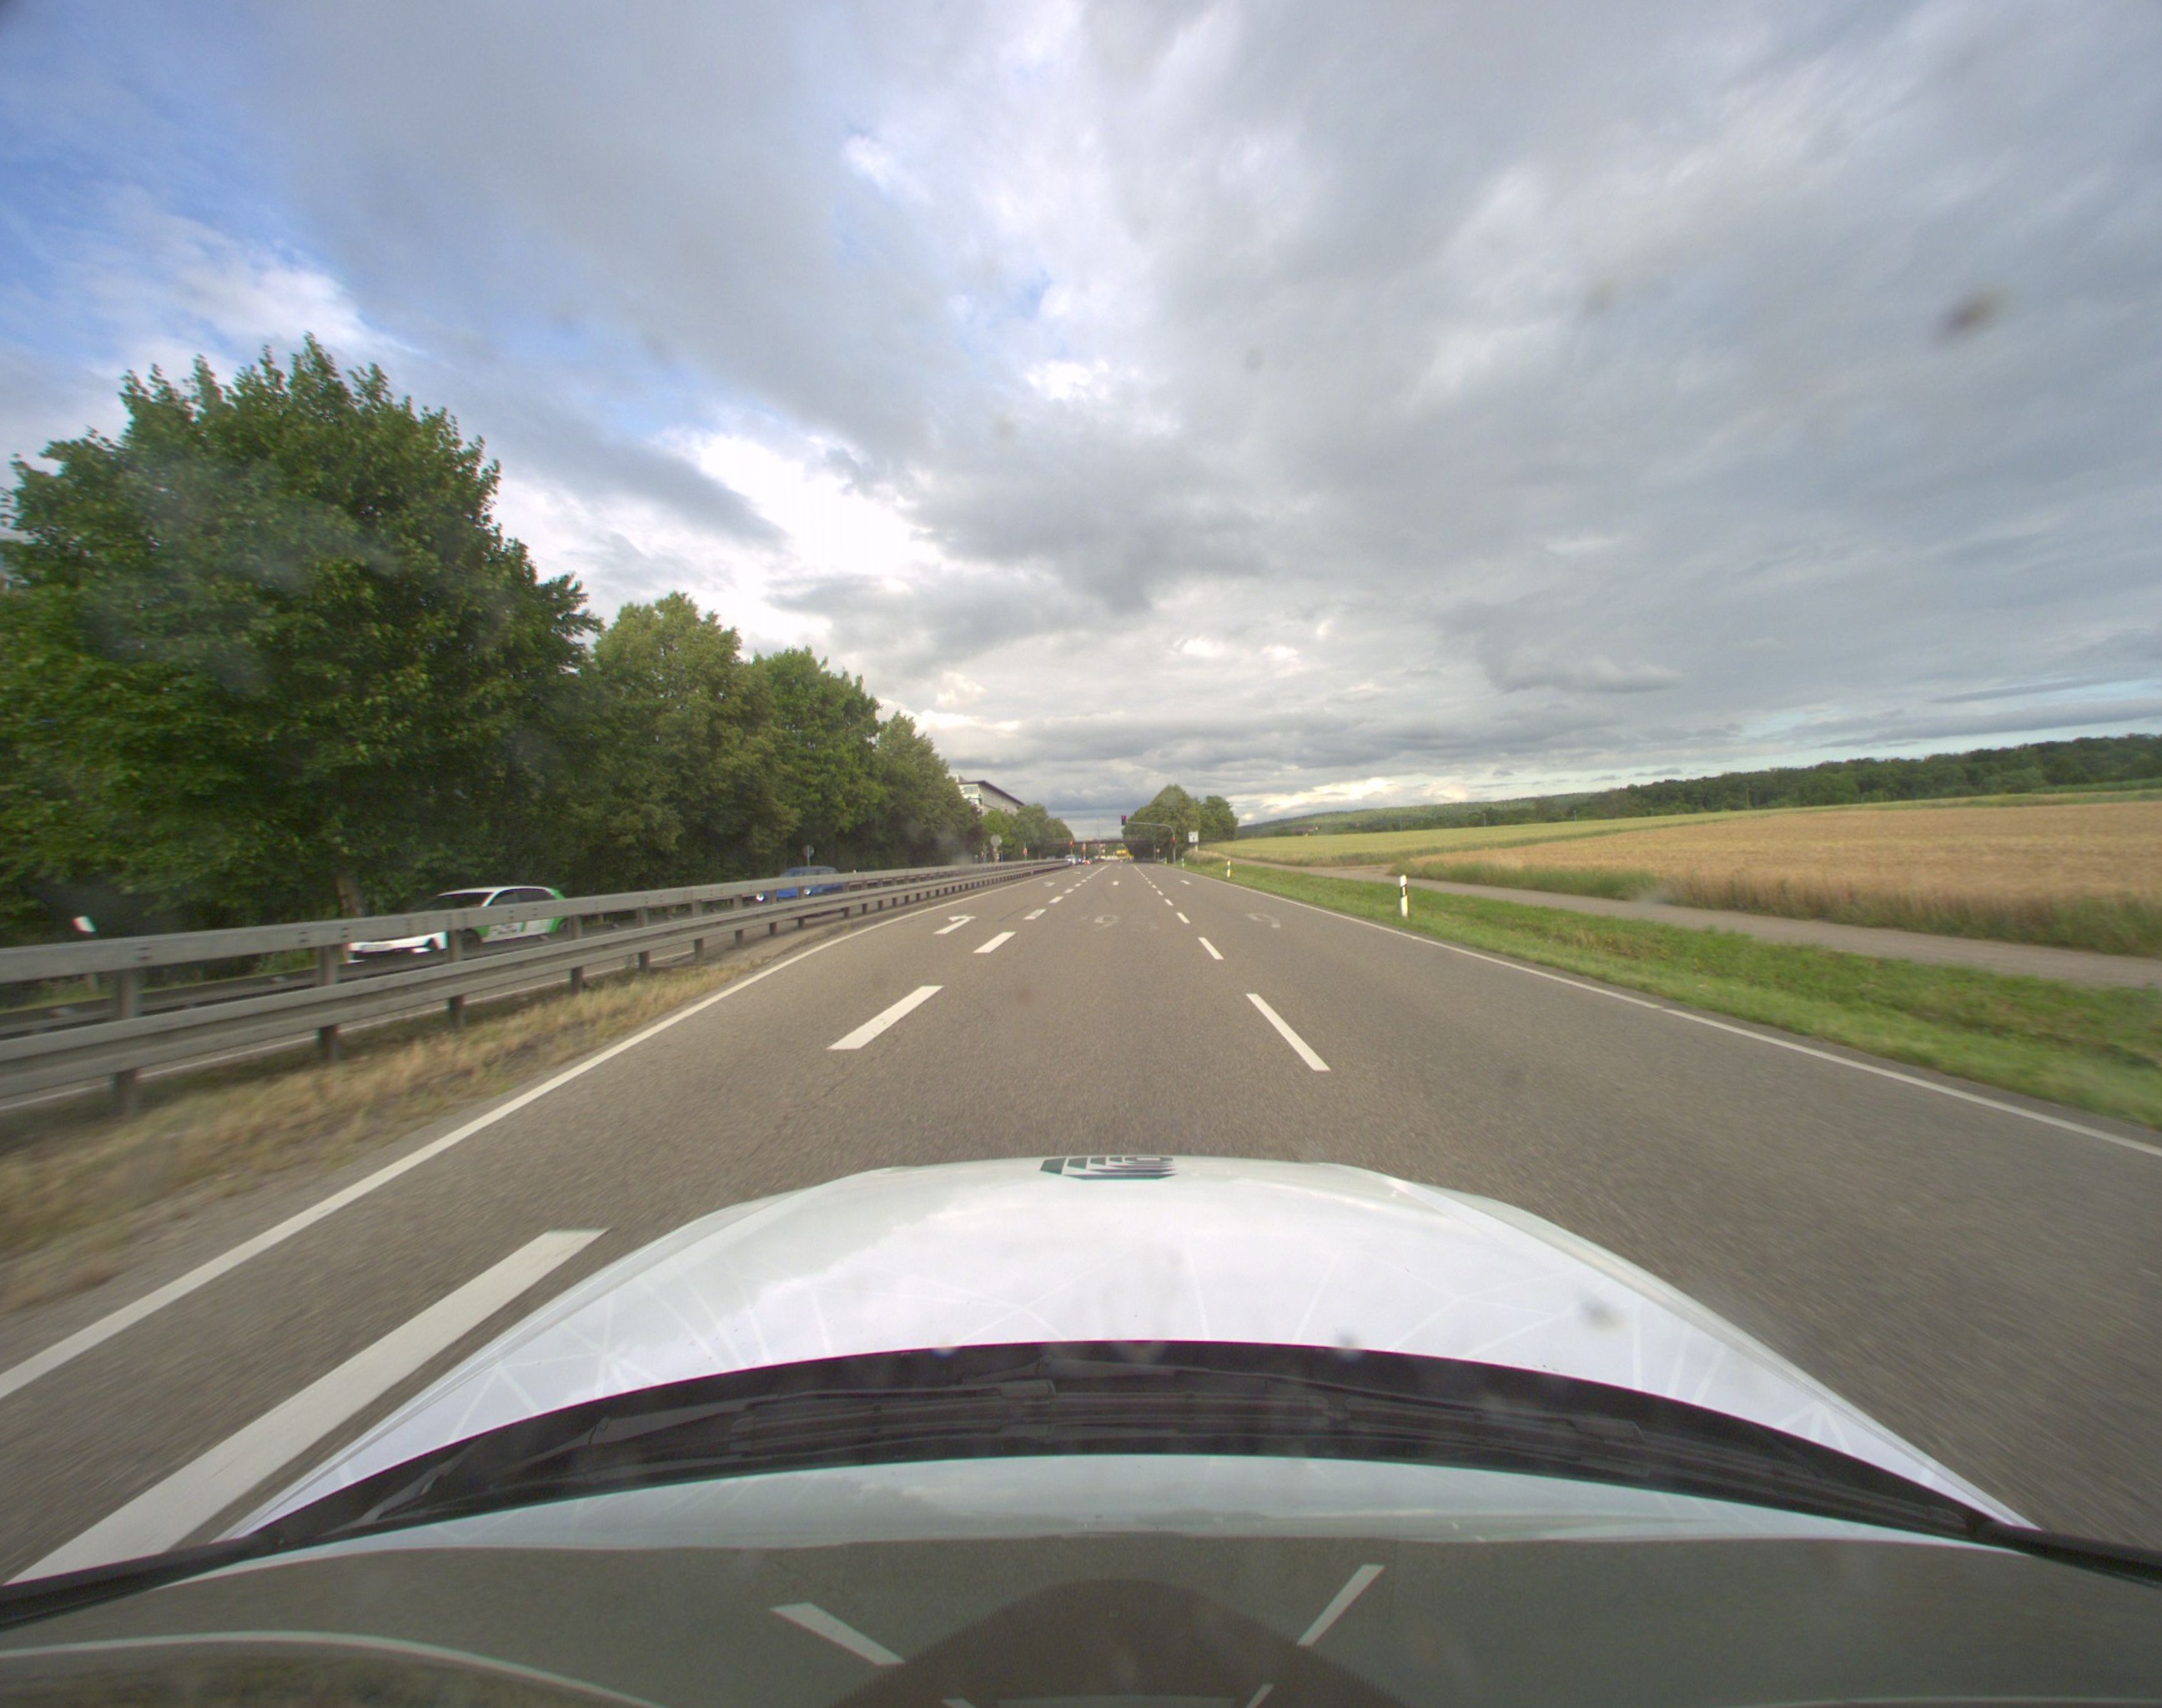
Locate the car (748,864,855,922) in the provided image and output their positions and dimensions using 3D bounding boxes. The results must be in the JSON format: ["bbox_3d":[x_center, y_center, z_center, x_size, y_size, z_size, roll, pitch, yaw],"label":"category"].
[{"bbox_3d":[-8.318,1.122,24.595,1.762,1.468,3.714,-2,0,2],"label":"car"}]

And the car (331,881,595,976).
[{"bbox_3d":[-12.144,1.377,16.479,1.752,1.413,4.462,-2,0,2],"label":"car"}]

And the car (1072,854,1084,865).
[{"bbox_3d":[-0.605,1.038,158.208,1.985,1.873,4.740,-2,0,3],"label":"car"}]

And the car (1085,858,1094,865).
[{"bbox_3d":[1.511,1.285,141.673,1.352,1.092,2.925,-2,0,4],"label":"car"}]
